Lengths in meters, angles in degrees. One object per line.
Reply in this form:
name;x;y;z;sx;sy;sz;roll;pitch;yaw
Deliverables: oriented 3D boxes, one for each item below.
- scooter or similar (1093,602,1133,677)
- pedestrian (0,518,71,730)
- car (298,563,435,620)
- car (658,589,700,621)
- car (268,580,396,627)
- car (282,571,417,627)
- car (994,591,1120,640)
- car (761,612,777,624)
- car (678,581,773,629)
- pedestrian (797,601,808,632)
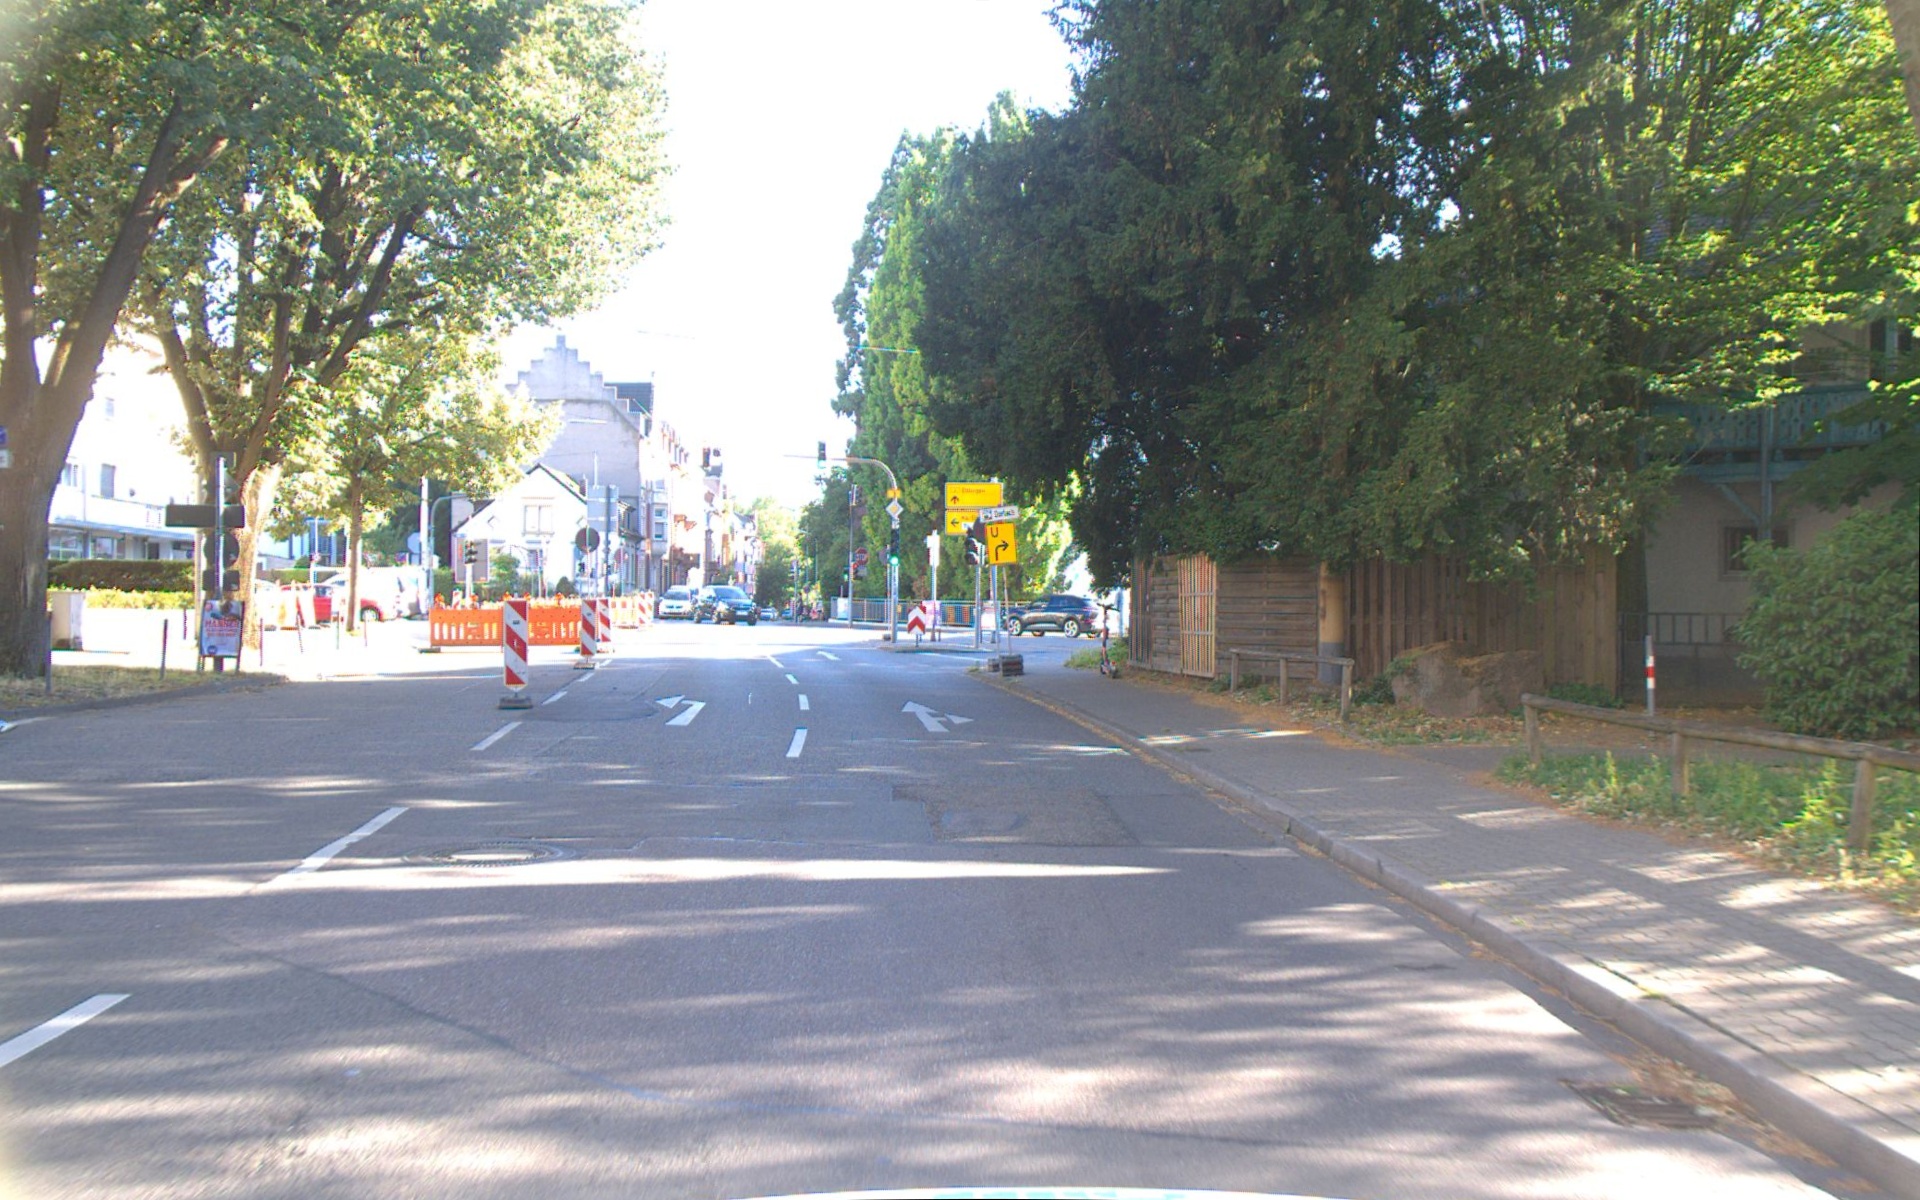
scooter or similar;2.571;0.651;27.889;0.429;1.223;1.257;-2;0;-4
pedestrian;-8.727;0.197;14.638;1.022;1.812;1.192;1;0;0
car;-22.872;-0.322;63.912;4.582;1.999;2.112;2;0;-10
car;-14.938;0.270;87.768;1.747;1.570;3.983;2;0;-16
car;-22.182;0.122;58.537;3.920;1.505;1.994;2;0;-12
car;-22.497;-0.038;61.092;4.229;1.884;1.998;2;0;-5
car;3.779;0.590;64.733;4.573;1.699;1.991;1;-3;38
car;-26.336;2.503;228.235;1.954;1.518;4.466;0;0;-4
car;-9.963;0.186;70.215;1.984;1.847;4.185;-2;3;-43
pedestrian;-8.653;0.891;90.783;0.590;1.722;0.611;0;0;-5
